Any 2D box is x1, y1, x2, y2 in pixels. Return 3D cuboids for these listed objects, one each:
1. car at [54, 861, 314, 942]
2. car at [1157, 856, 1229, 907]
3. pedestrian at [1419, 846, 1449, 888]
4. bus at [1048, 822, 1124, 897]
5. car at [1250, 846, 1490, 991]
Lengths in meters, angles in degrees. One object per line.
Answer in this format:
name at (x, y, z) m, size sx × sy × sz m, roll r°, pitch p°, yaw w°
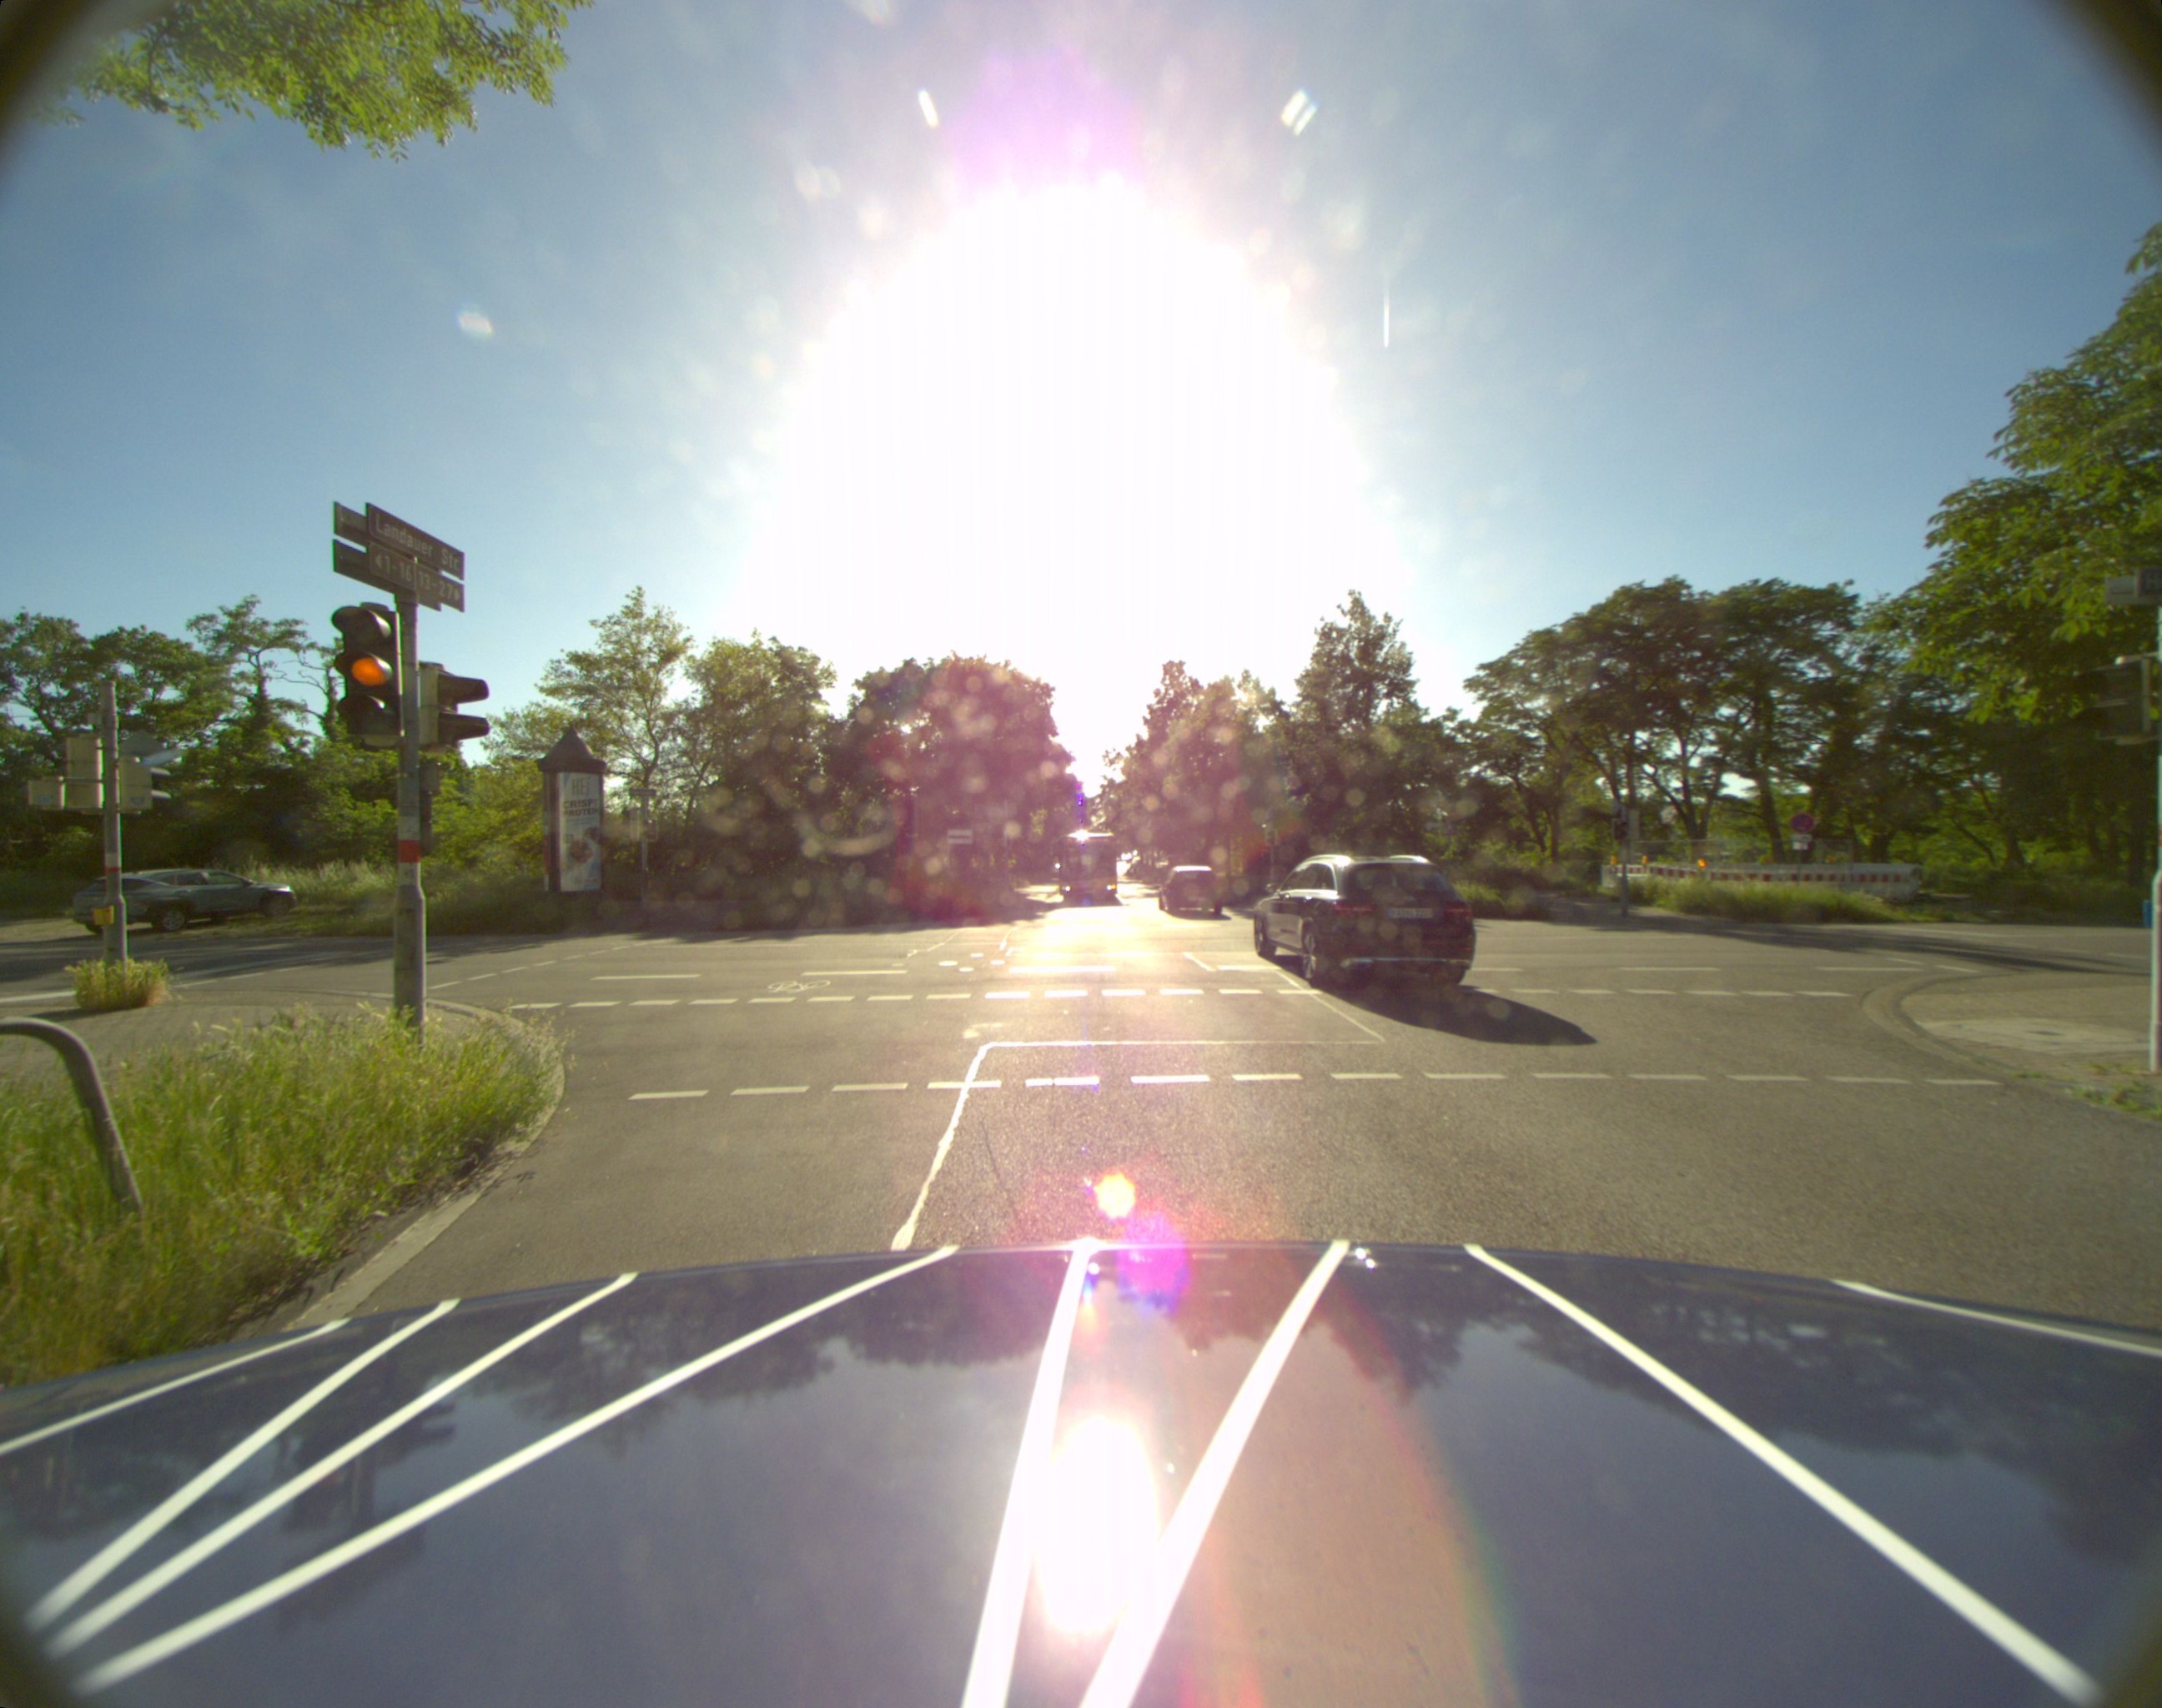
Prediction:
car at (-24.485, 1.196, 21.077) m, size 1.868 × 1.642 × 4.444 m, roll -3°, pitch 3°, yaw -3°
car at (3.541, 0.823, 24.651) m, size 1.810 × 1.447 × 3.849 m, roll 0°, pitch 1°, yaw 0°
pedestrian at (13.990, 0.520, 30.127) m, size 0.800 × 1.624 × 0.647 m, roll -3°, pitch 0°, yaw 1°
bus at (0.400, 0.270, 38.926) m, size 3.128 × 3.080 × 12.481 m, roll -3°, pitch 0°, yaw 2°
car at (3.725, 0.717, 10.727) m, size 1.819 × 1.608 × 4.392 m, roll 0°, pitch 0°, yaw 2°
